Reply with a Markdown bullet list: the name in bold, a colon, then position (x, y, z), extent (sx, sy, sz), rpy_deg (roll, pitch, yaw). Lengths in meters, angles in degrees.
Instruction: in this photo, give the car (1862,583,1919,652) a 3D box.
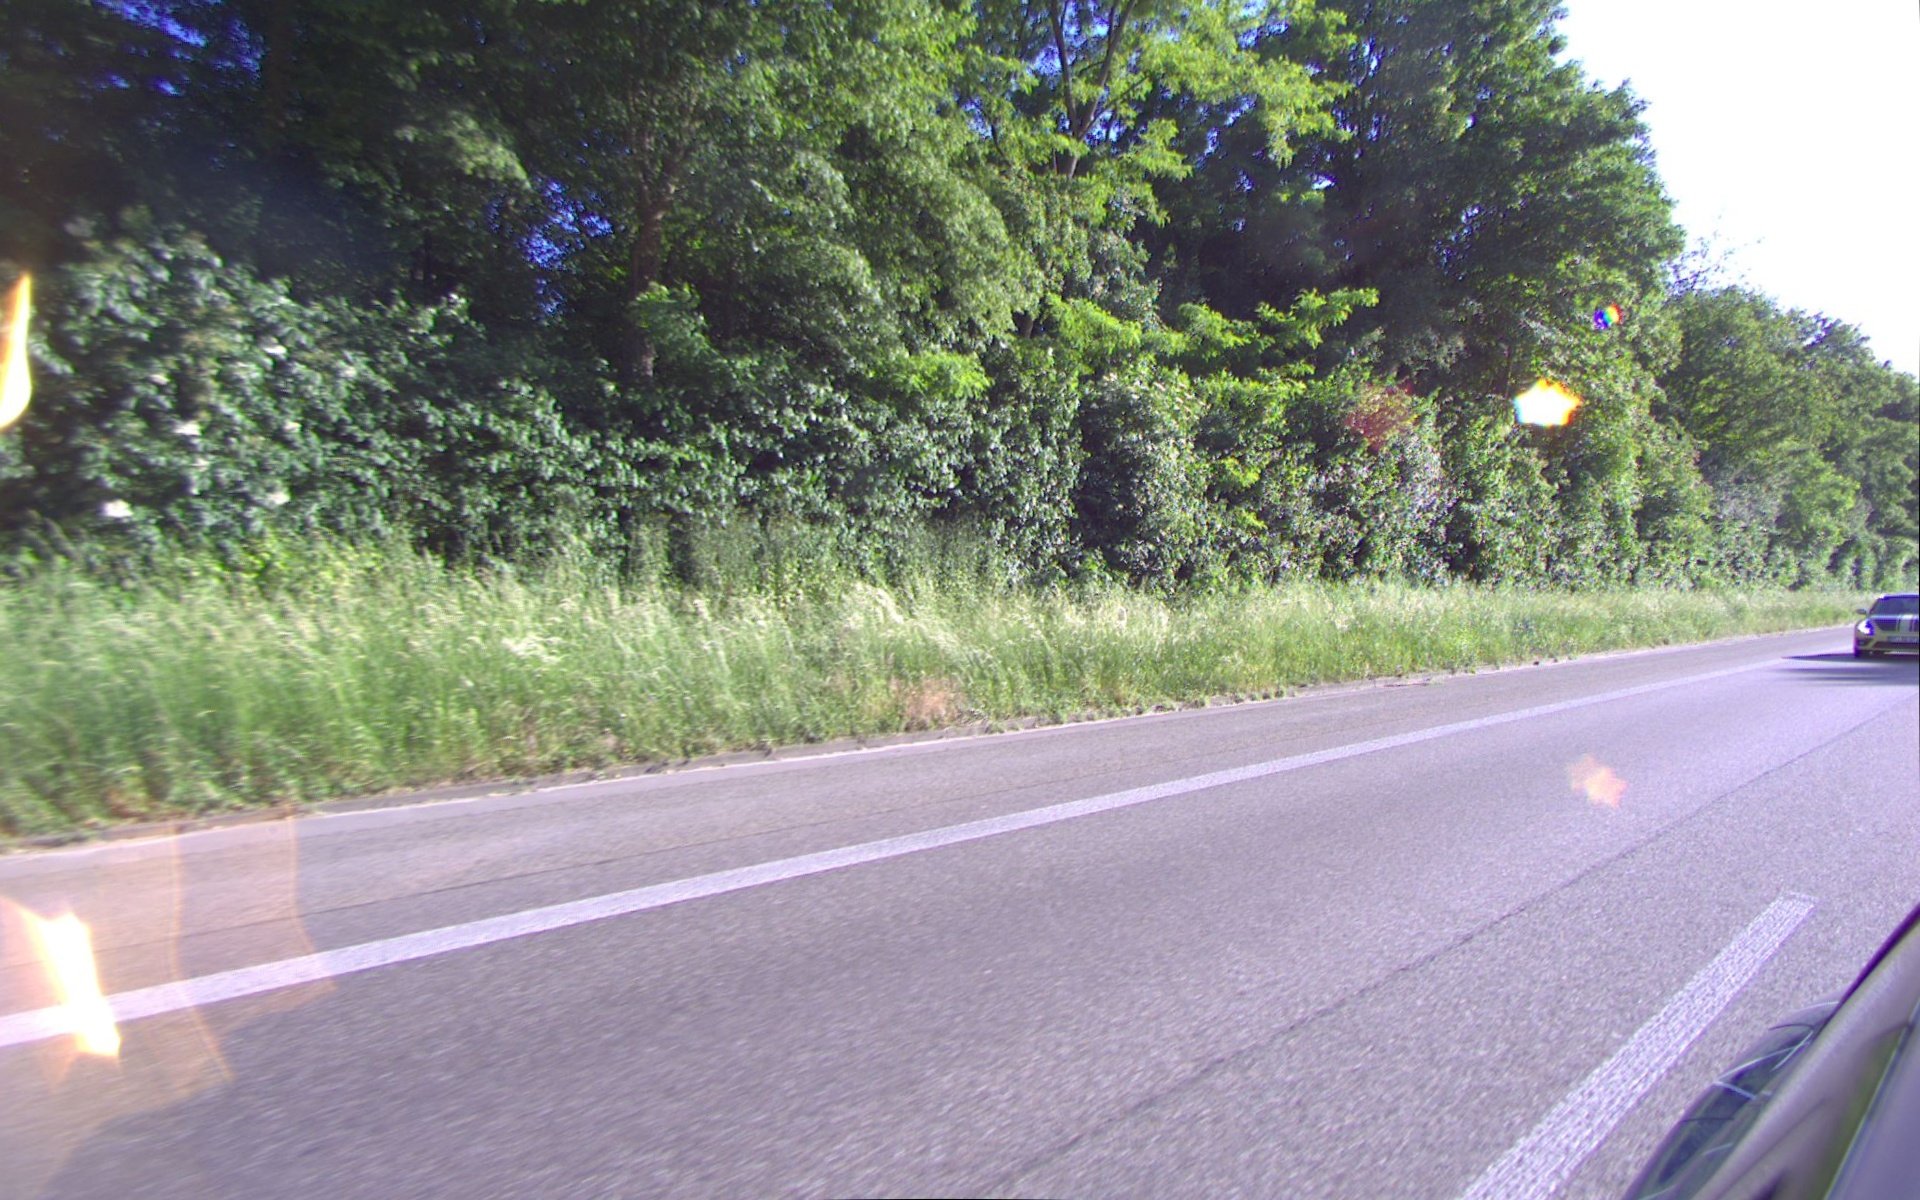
- **car**: position (21.989, 0.360, 23.016), extent (3.811, 1.467, 1.793), rpy_deg (0, 0, -42)
